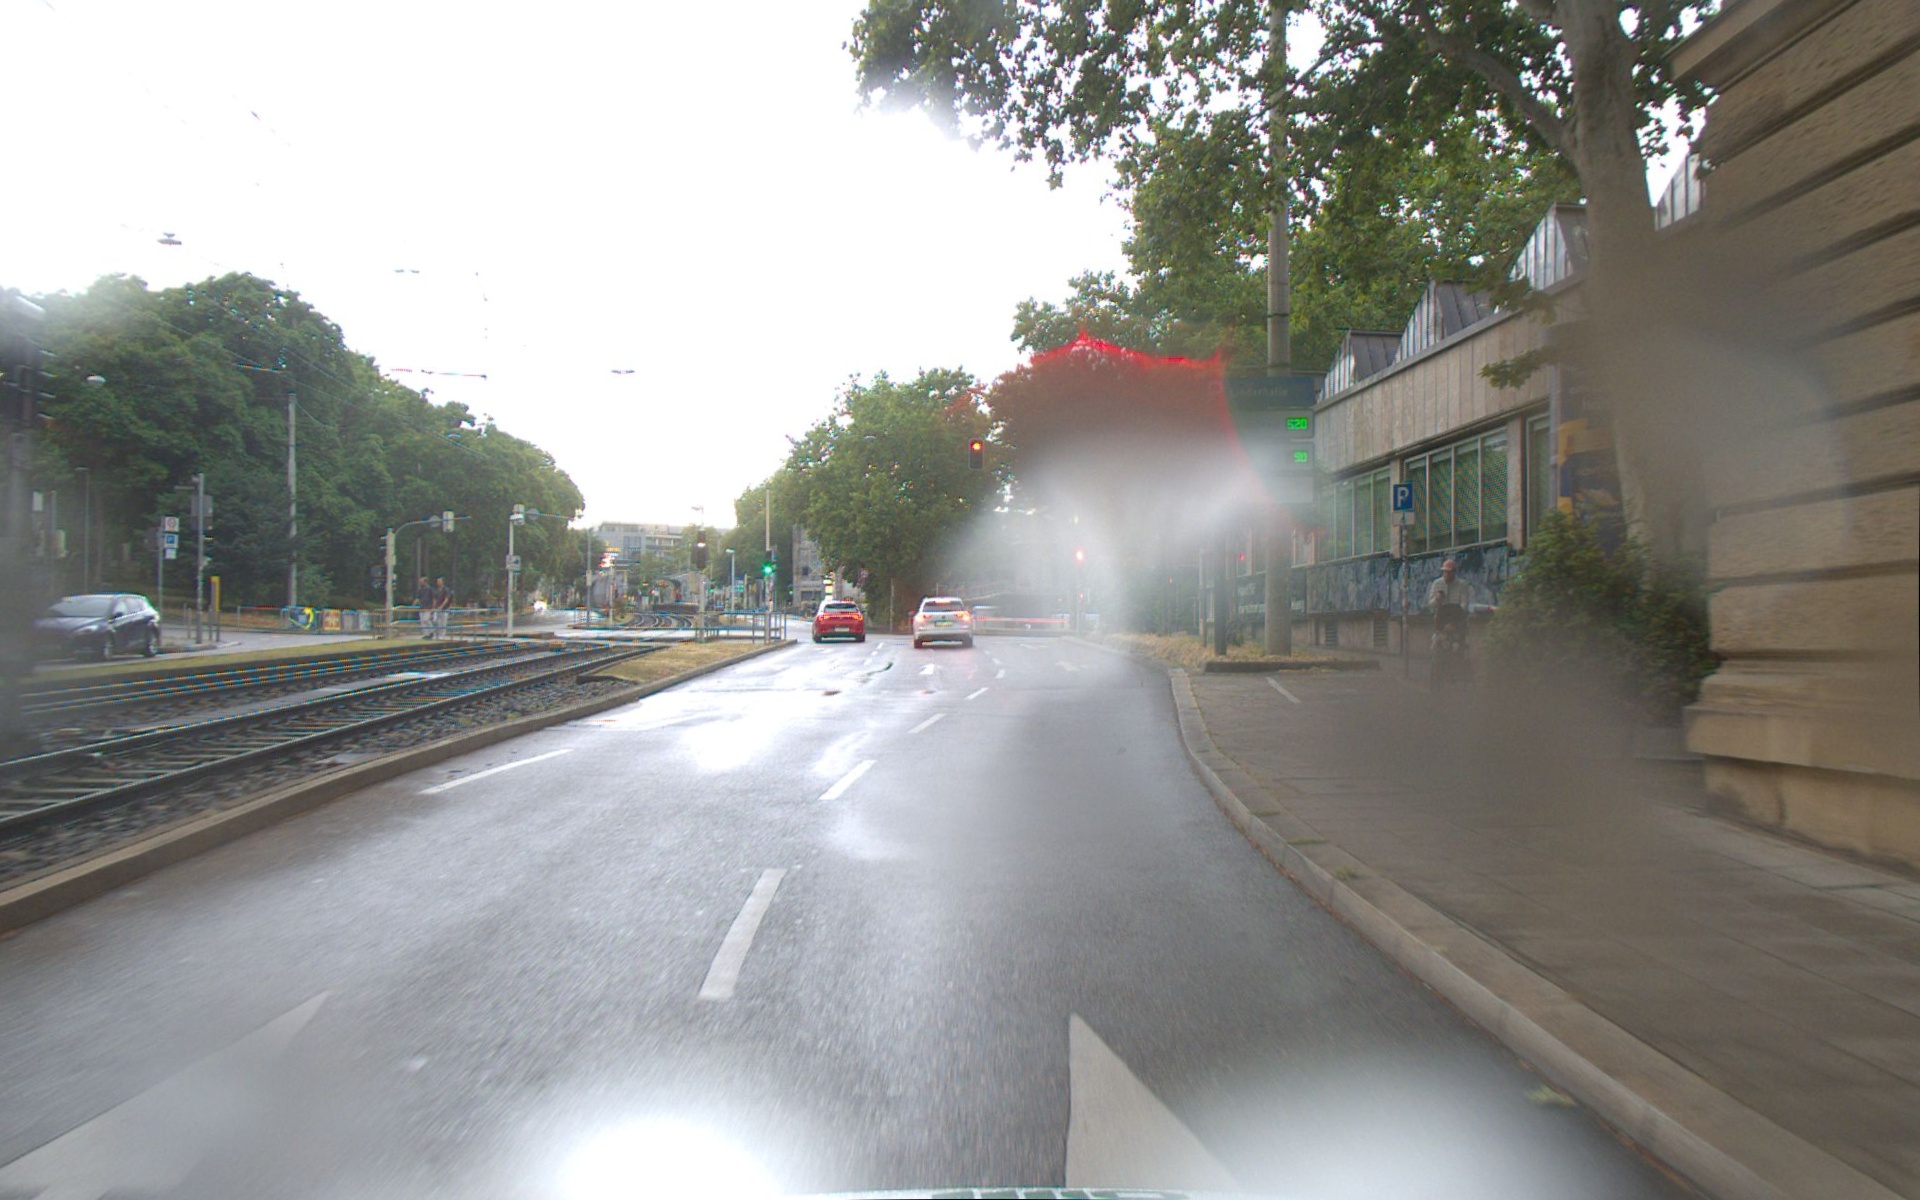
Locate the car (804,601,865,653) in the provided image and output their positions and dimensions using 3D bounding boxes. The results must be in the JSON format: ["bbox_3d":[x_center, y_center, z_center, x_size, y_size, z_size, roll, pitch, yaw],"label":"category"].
[{"bbox_3d":[-4.314,0.942,57.319,1.941,1.669,4.413,2,-1,-3],"label":"car"}]

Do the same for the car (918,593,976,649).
[{"bbox_3d":[-0.399,0.603,49.714,1.645,1.604,4.252,-1,0,-1],"label":"car"}]

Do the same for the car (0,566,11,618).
[{"bbox_3d":[-57.724,-0.500,98.345,1.971,3.050,4.170,2,-2,-28],"label":"car"}]

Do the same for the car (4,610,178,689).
[{"bbox_3d":[-19.317,1.091,37.003,1.956,1.610,4.540,2,-1,-8],"label":"car"}]

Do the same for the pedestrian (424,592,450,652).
[{"bbox_3d":[-16.160,0.671,51.059,0.630,1.819,0.805,2,-2,-24],"label":"pedestrian"}]

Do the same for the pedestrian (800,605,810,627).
[{"bbox_3d":[-13.623,1.424,145.173,0.743,1.855,0.698,2,-2,-14],"label":"pedestrian"}]

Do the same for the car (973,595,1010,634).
[{"bbox_3d":[2.666,1.262,140.472,2.495,3.189,5.024,2,-1,-6],"label":"car"}]

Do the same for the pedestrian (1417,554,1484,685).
[{"bbox_3d":[6.880,0.262,23.237,0.703,1.772,1.020,-3,0,10],"label":"pedestrian"}]

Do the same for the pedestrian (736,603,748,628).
[{"bbox_3d":[-14.732,1.023,111.875,0.724,1.669,0.869,2,-2,-9],"label":"pedestrian"}]

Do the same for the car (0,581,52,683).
[{"bbox_3d":[-18.665,0.563,30.313,1.956,1.882,4.686,2,-1,-8],"label":"car"}]

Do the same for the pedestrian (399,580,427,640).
[{"bbox_3d":[-16.756,0.315,50.695,0.632,1.819,0.803,2,-2,-29],"label":"pedestrian"}]

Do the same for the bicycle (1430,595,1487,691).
[{"bbox_3d":[6.698,0.564,22.261,0.605,1.242,0.911,-2,0,10],"label":"bicycle"}]

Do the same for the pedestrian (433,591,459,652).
[{"bbox_3d":[-15.612,0.641,50.244,0.630,1.819,0.805,2,-2,-24],"label":"pedestrian"}]
